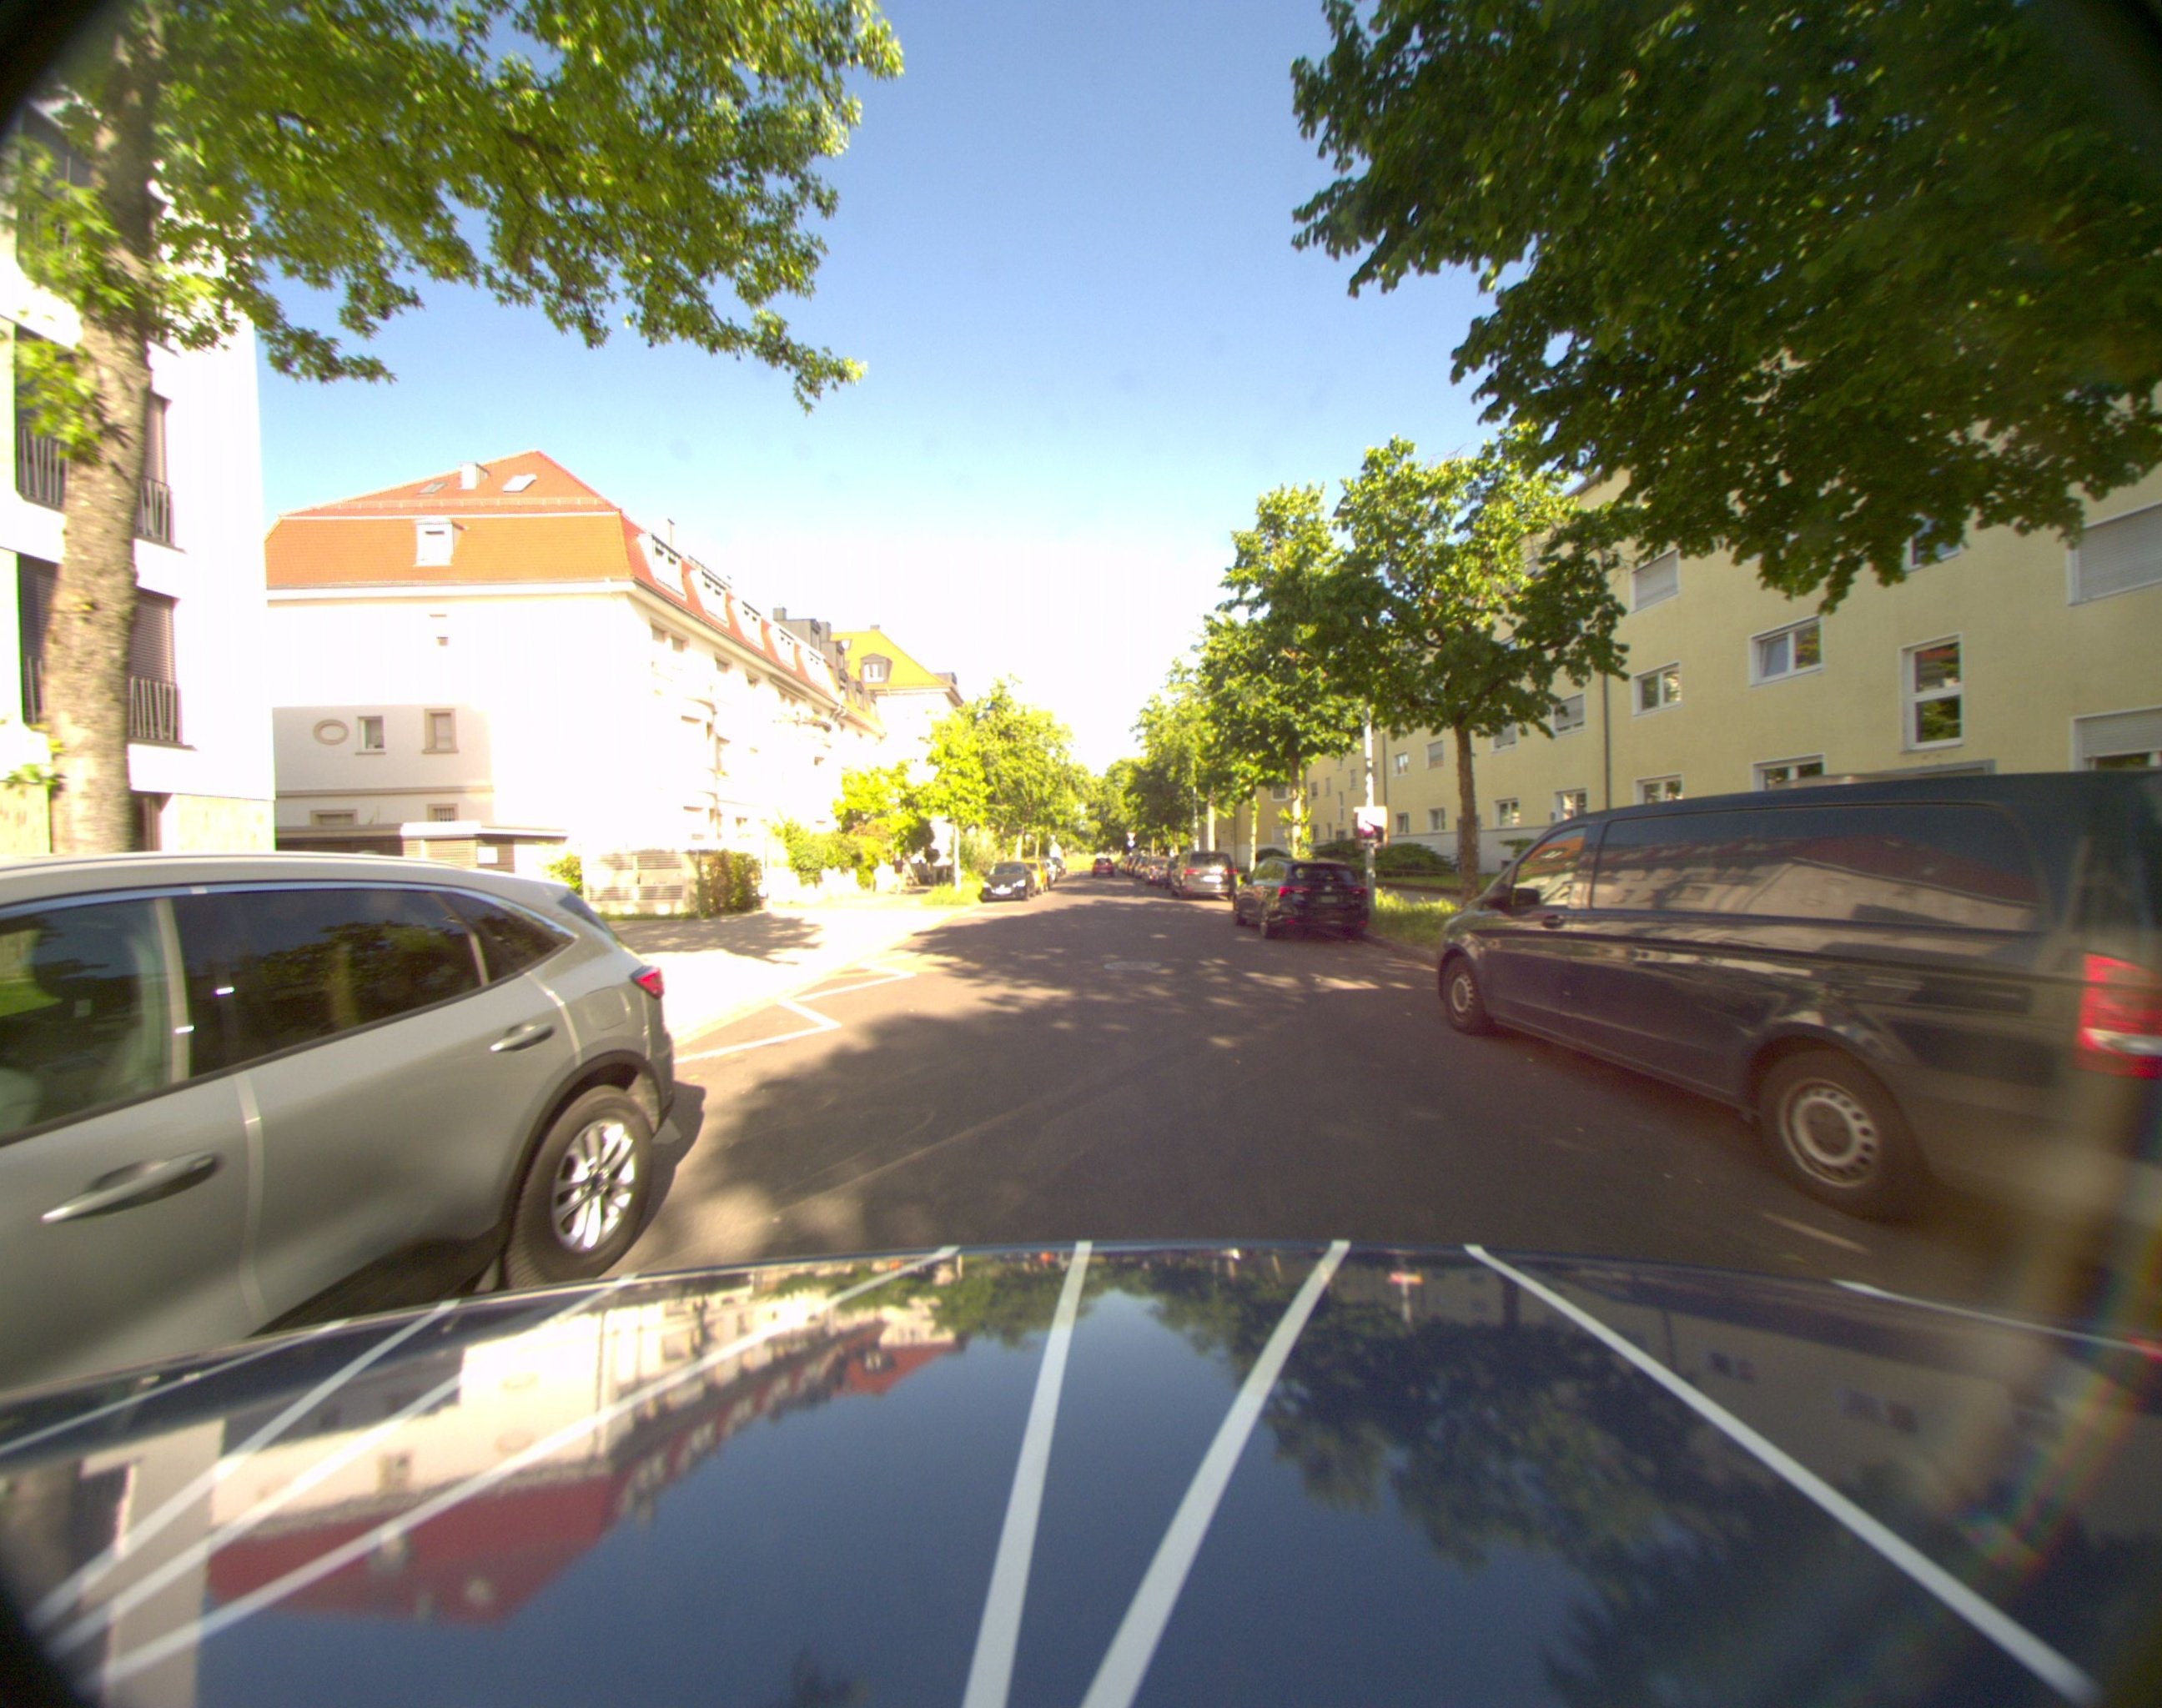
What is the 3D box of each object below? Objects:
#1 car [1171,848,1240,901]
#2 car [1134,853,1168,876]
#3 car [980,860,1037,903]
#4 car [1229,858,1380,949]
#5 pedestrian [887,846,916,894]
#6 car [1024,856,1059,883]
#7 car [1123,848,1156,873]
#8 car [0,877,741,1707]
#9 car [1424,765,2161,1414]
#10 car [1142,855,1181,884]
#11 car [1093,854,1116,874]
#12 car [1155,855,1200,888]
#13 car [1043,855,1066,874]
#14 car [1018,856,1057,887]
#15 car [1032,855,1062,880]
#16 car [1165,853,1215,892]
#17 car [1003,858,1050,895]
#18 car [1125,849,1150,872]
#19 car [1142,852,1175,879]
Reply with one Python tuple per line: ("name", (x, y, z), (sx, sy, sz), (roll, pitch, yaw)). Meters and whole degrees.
("car", (4.266, 0.652, 26.646), (1.864, 1.718, 4.000), (0, 0, 2))
("car", (4.718, 0.691, 51.797), (1.805, 1.470, 3.999), (-2, 0, -2))
("car", (-2.655, 0.974, 28.532), (1.670, 1.456, 3.536), (-1, 0, 2))
("car", (4.174, 0.845, 14.868), (1.780, 1.462, 4.063), (1, 0, 1))
("pedestrian", (-7.618, 0.669, 32.292), (0.907, 2.002, 1.006), (-1, 1, 1))
("car", (-2.218, 0.857, 43.692), (1.670, 1.456, 3.536), (-1, 0, 2))
("car", (4.351, 0.486, 57.247), (1.891, 1.797, 3.913), (-2, 0, -3))
("car", (-2.834, 0.985, 1.494), (1.901, 1.638, 4.862), (-2, 0, 3))
("car", (3.970, 0.646, 4.402), (1.798, 1.839, 4.866), (-1, 0, 0))
("car", (4.224, 0.782, 40.334), (1.606, 1.382, 3.812), (-2, 0, 0))
("car", (1.810, 0.723, 57.316), (1.665, 1.456, 3.447), (-1, 0, 2))
("car", (4.513, 0.789, 35.847), (1.606, 1.382, 3.812), (-2, 0, 0))
("car", (-2.123, 0.824, 61.940), (1.670, 1.456, 3.536), (-1, 0, 2))
("car", (-2.170, 0.880, 38.784), (1.670, 1.456, 3.674), (-1, 0, 2))
("car", (-2.142, 0.833, 48.640), (1.670, 1.456, 3.536), (-1, 0, 2))
("car", (4.530, 0.732, 32.092), (1.606, 1.535, 3.416), (-2, 0, 0))
("car", (-2.352, 0.952, 33.310), (1.670, 1.456, 3.536), (-1, 0, 2))
("car", (4.583, 0.534, 62.138), (1.713, 1.752, 3.712), (-2, 1, 0))
("car", (4.659, 0.667, 46.029), (1.606, 1.463, 3.812), (-2, 0, 0))
